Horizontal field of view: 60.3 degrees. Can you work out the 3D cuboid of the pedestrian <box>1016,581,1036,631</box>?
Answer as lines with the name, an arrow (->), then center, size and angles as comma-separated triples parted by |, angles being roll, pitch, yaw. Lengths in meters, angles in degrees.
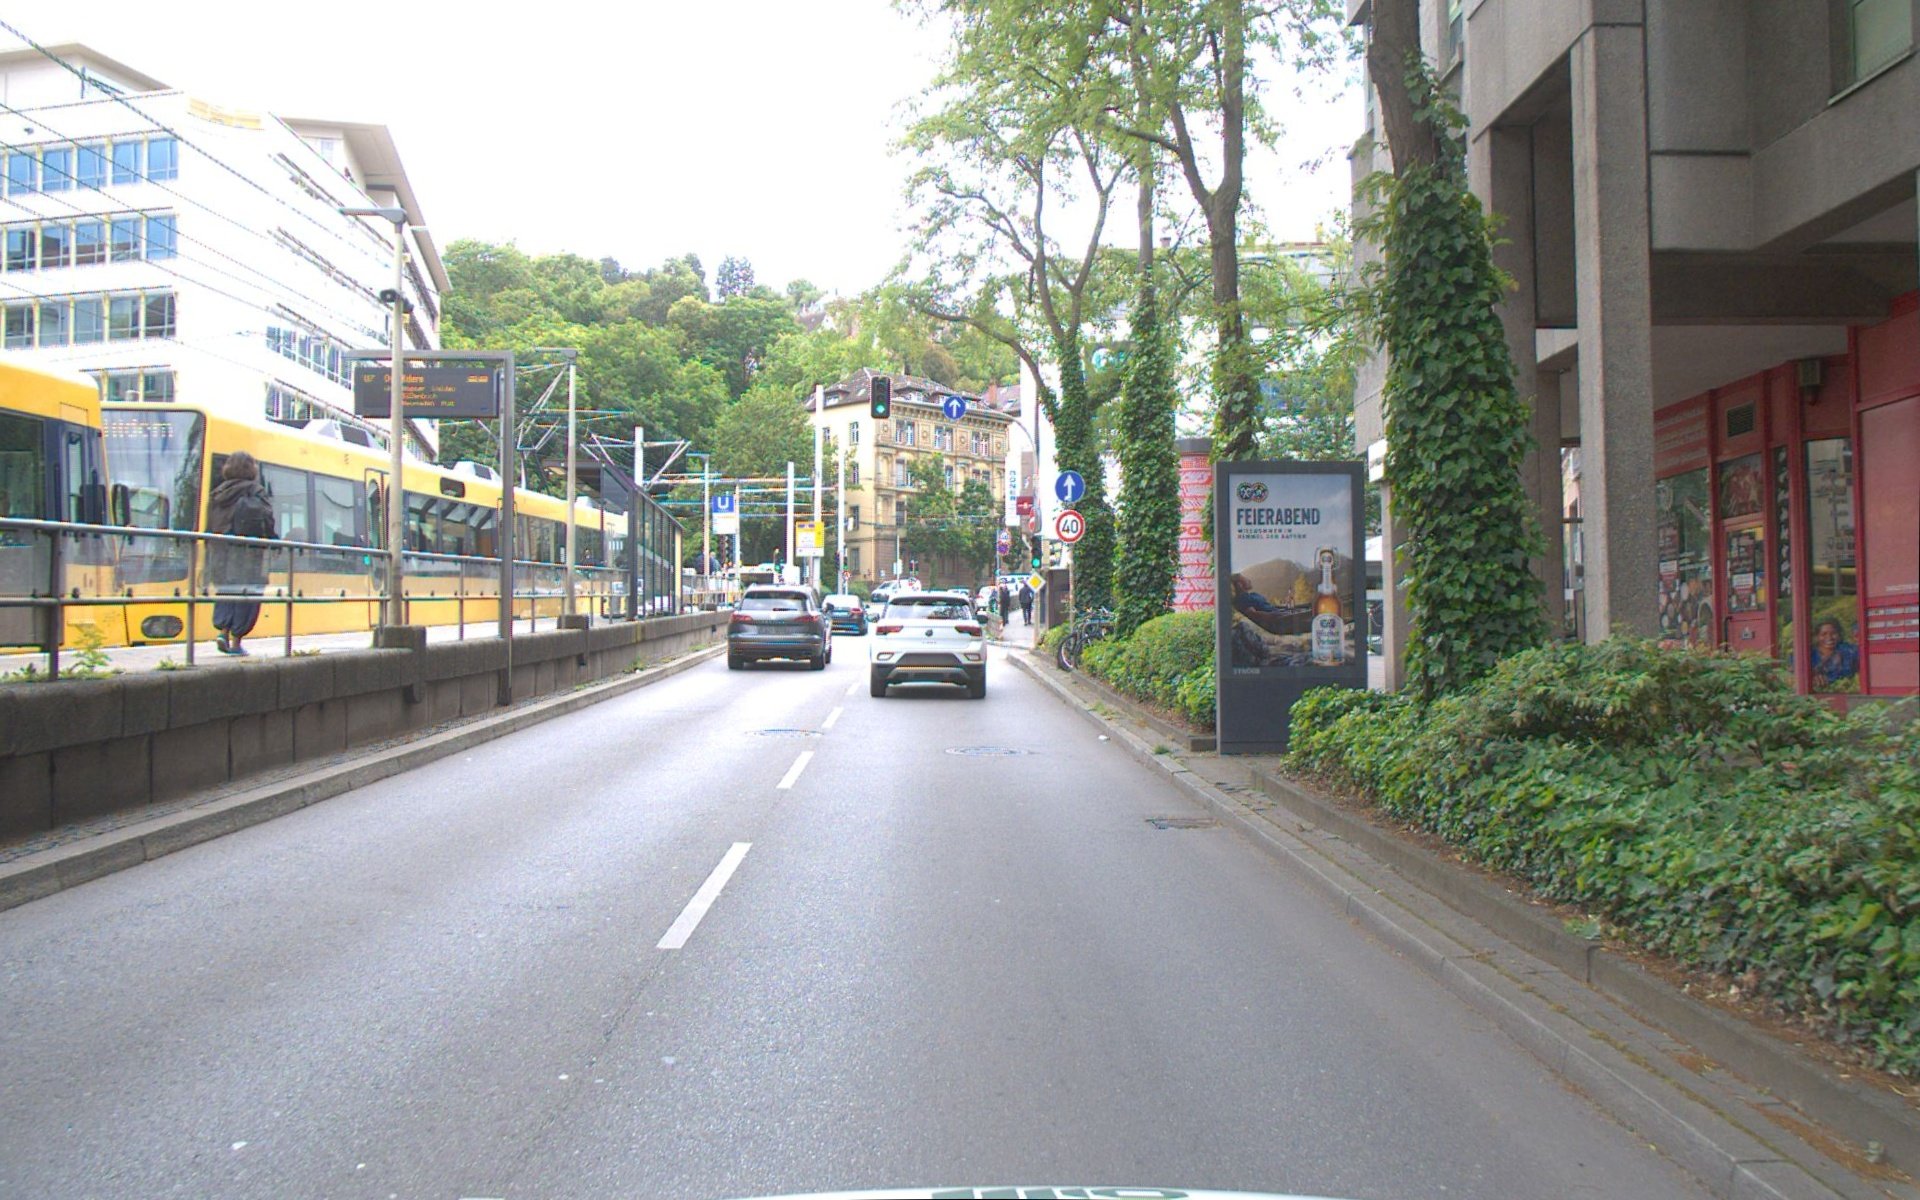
pedestrian -> 2.735, 0.268, 68.694 | 0.746, 2.049, 0.839 | 1, -2, 5

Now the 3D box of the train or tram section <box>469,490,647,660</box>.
train or tram section -> -9.597, -0.513, 40.264 | 2.756, 3.731, 6.749 | 1, -1, -1

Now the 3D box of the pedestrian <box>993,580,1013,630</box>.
pedestrian -> 1.822, 0.213, 69.695 | 0.746, 2.049, 0.839 | 1, -2, 5

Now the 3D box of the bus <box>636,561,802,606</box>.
bus -> -18.170, -1.162, 123.946 | 13.032, 3.119, 3.376 | 0, -2, 30

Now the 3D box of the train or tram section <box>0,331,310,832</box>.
train or tram section -> -8.537, -0.126, 14.710 | 2.755, 3.731, 6.750 | 1, -1, 0

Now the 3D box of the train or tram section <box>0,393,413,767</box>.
train or tram section -> -9.090, -0.169, 20.022 | 2.756, 3.731, 6.749 | 1, -1, -1

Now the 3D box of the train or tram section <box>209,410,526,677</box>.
train or tram section -> -9.257, -0.758, 26.762 | 2.756, 3.731, 6.749 | 1, -1, -1

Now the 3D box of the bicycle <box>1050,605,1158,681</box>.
bicycle -> 2.560, 0.761, 29.360 | 1.840, 1.288, 0.765 | 1, -2, 10

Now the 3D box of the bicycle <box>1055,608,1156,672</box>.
bicycle -> 2.718, 0.749, 30.854 | 1.841, 1.157, 0.808 | 1, -2, 5

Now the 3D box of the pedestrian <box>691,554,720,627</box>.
pedestrian -> -7.290, -0.268, 47.391 | 0.747, 2.049, 0.837 | 1, -2, -8

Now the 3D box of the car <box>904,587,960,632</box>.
car -> -1.195, 0.413, 68.281 | 1.849, 1.713, 4.154 | 1, -2, -7

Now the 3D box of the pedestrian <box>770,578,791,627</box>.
pedestrian -> -7.653, 0.099, 70.441 | 0.746, 2.049, 0.838 | 1, -2, 0

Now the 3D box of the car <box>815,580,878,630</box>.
car -> -4.104, 0.181, 60.450 | 1.872, 1.719, 4.001 | 1, 0, 1

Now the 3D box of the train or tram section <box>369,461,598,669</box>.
train or tram section -> -9.418, -0.597, 33.528 | 2.756, 3.731, 6.749 | 1, -1, -1

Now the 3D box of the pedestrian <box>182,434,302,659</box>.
pedestrian -> -5.910, -0.428, 13.651 | 0.614, 1.793, 0.846 | -1, 0, -1

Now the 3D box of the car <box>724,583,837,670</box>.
car -> -3.616, 0.522, 33.978 | 1.953, 1.664, 3.999 | 0, 0, -1

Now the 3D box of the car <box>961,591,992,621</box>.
car -> 1.037, 0.391, 103.904 | 1.846, 1.713, 4.161 | 1, -2, 2

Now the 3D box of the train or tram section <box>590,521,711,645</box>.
train or tram section -> -9.926, -0.486, 53.762 | 2.756, 3.731, 6.749 | 1, -1, -1

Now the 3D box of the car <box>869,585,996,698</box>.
car -> -0.350, 0.611, 25.985 | 1.799, 1.611, 4.157 | 0, 0, 1

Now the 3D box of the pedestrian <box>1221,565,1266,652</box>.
pedestrian -> 5.454, 0.175, 31.830 | 0.626, 1.643, 0.584 | 2, -2, -21

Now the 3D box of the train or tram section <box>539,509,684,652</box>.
train or tram section -> -9.763, -0.473, 47.005 | 2.756, 3.731, 6.749 | 1, -1, -1

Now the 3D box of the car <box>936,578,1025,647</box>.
car -> 0.503, 0.376, 45.794 | 1.849, 1.713, 4.154 | -3, -1, -7

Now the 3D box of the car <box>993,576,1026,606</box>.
car -> 3.736, -0.634, 123.737 | 2.315, 2.049, 5.149 | 1, -2, 3

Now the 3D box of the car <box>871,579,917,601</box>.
car -> -5.480, -0.853, 138.338 | 1.878, 1.719, 3.989 | 1, 0, 33

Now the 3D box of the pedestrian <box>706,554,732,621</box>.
pedestrian -> -7.445, -0.381, 51.117 | 0.747, 2.049, 0.837 | 1, -2, -8
